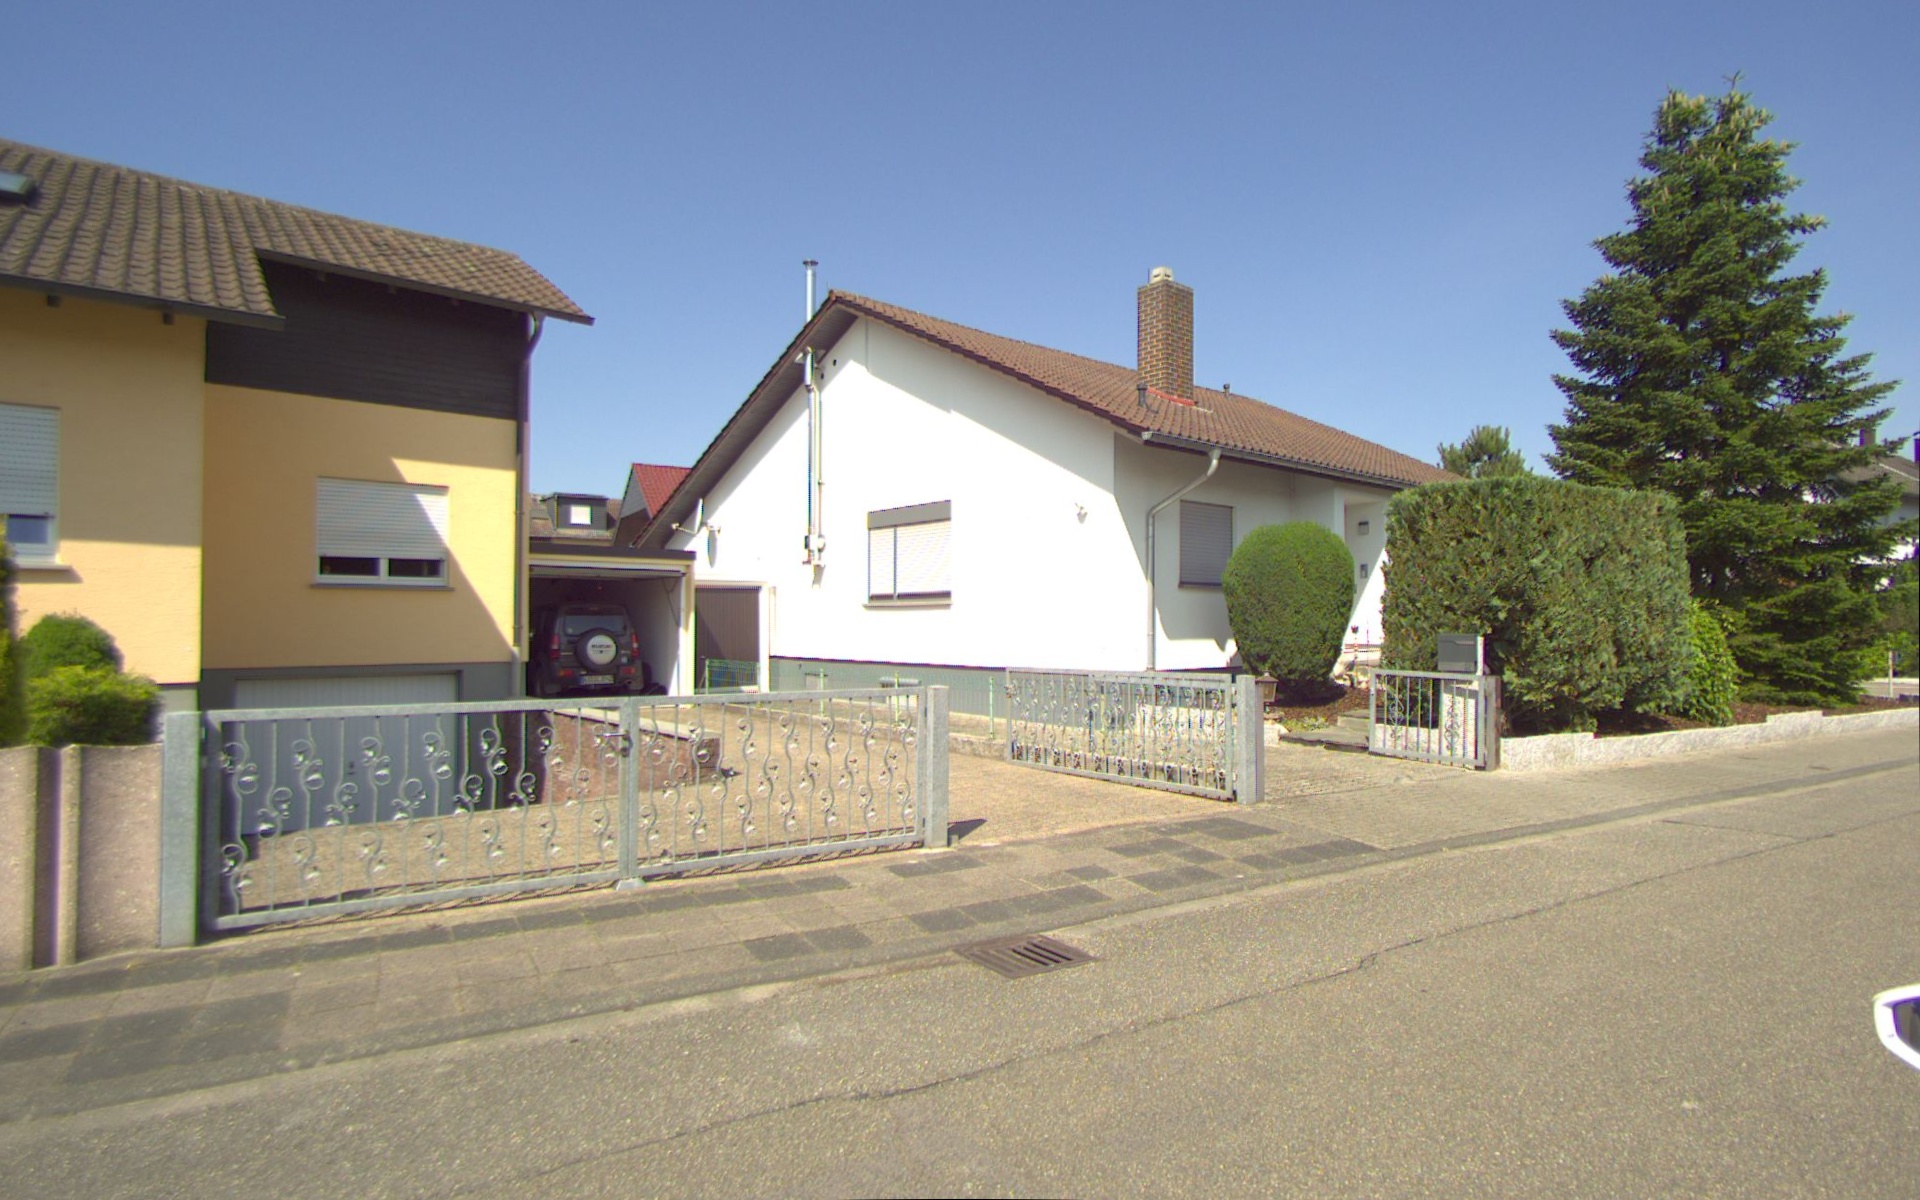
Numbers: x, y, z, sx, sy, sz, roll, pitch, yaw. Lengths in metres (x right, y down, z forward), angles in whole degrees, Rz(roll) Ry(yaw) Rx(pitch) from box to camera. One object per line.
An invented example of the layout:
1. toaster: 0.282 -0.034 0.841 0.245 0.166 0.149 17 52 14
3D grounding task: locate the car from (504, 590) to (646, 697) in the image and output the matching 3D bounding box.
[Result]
1. car: -6.686 0.710 17.233 1.532 1.632 3.668 1 -2 -33
